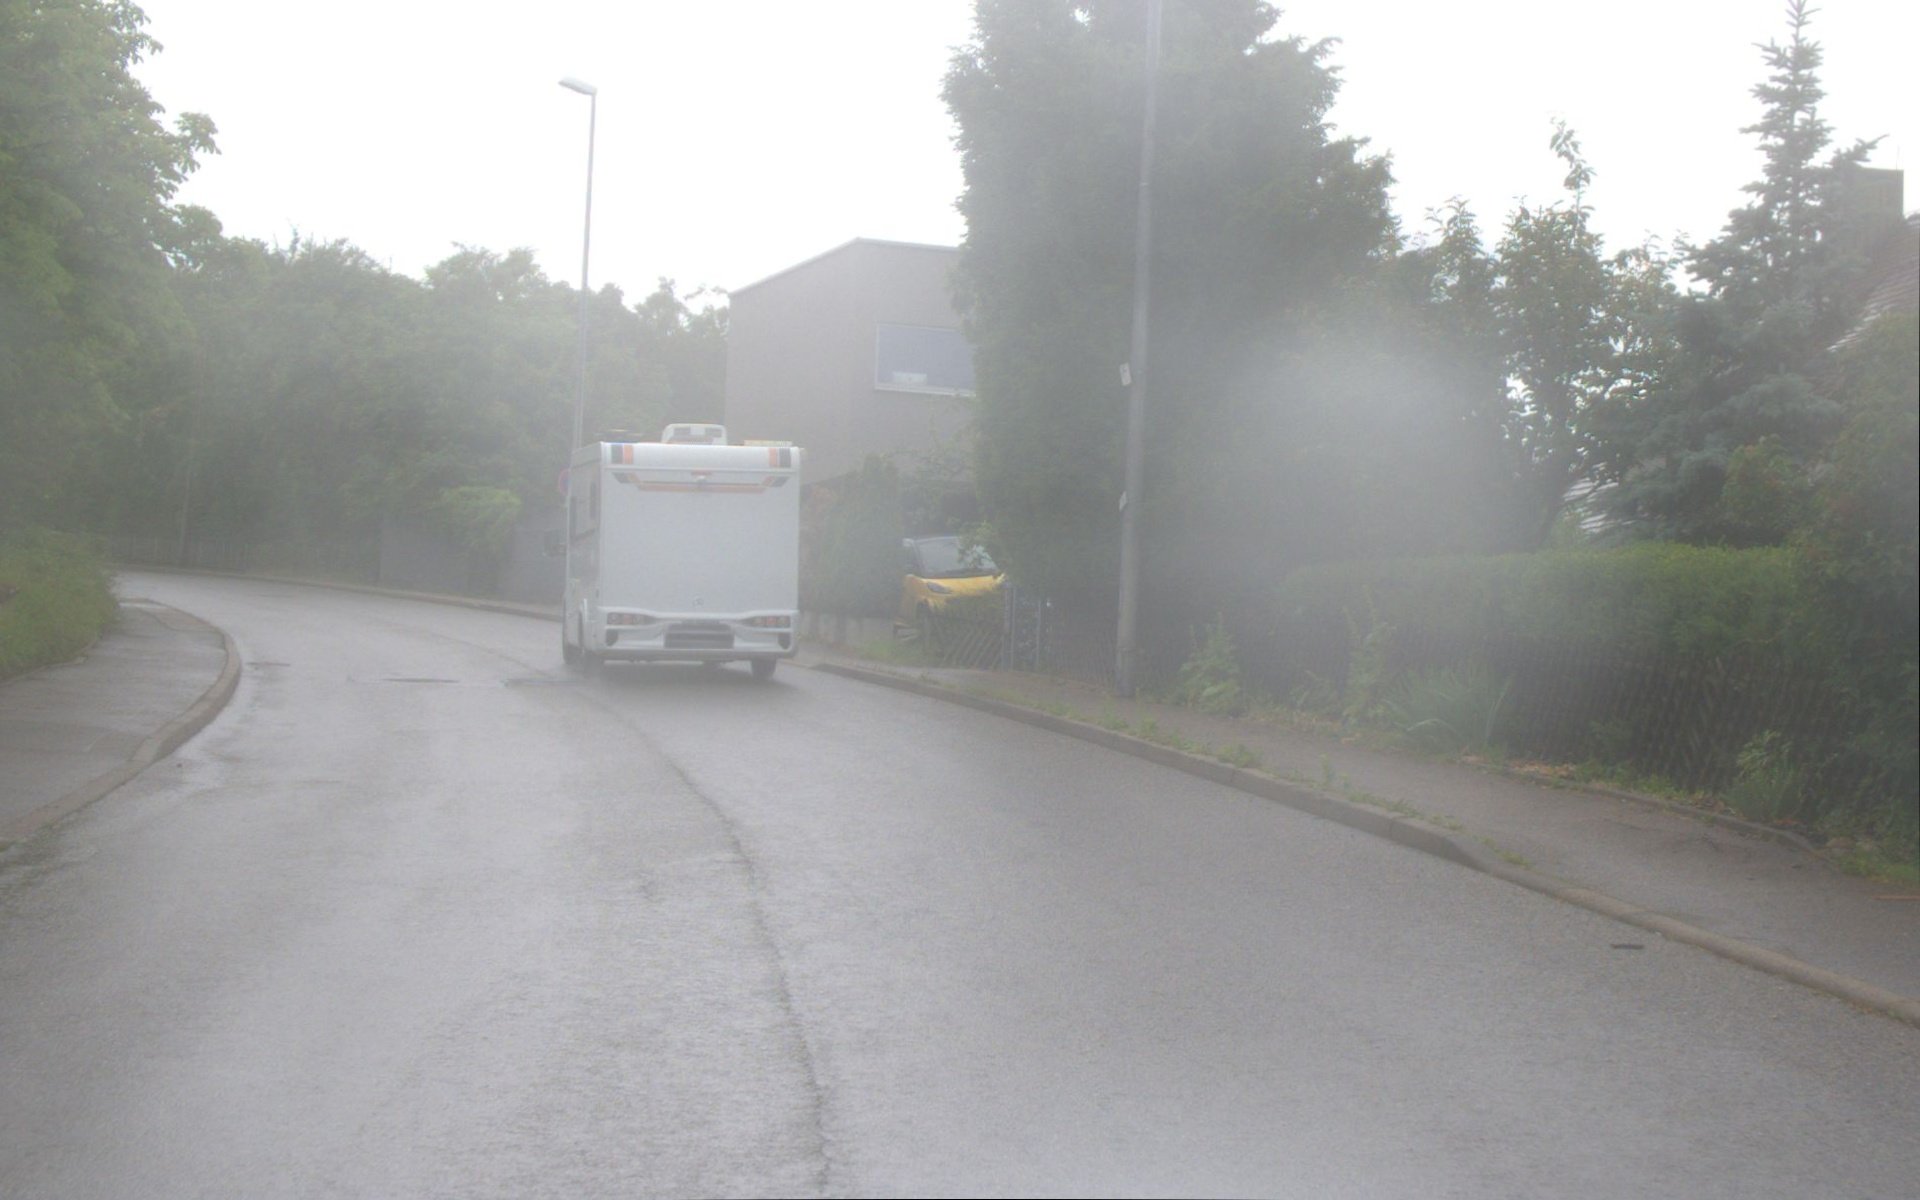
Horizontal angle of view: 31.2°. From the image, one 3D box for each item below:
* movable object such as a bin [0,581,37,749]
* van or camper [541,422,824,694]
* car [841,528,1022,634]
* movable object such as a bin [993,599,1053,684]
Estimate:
[{"bbox_3d":[-6.914,0.432,24.017,0.694,1.086,0.803,4,4,-3],"label":"movable object such as a bin"},{"bbox_3d":[-3.365,-0.475,40.330,2.539,2.915,5.949,1,0,-12],"label":"van or camper"},{"bbox_3d":[-0.473,-0.309,53.076,1.627,1.488,3.428,-4,2,-20],"label":"car"},{"bbox_3d":[0.752,0.499,41.285,0.504,0.966,0.595,5,0,-14],"label":"movable object such as a bin"}]
